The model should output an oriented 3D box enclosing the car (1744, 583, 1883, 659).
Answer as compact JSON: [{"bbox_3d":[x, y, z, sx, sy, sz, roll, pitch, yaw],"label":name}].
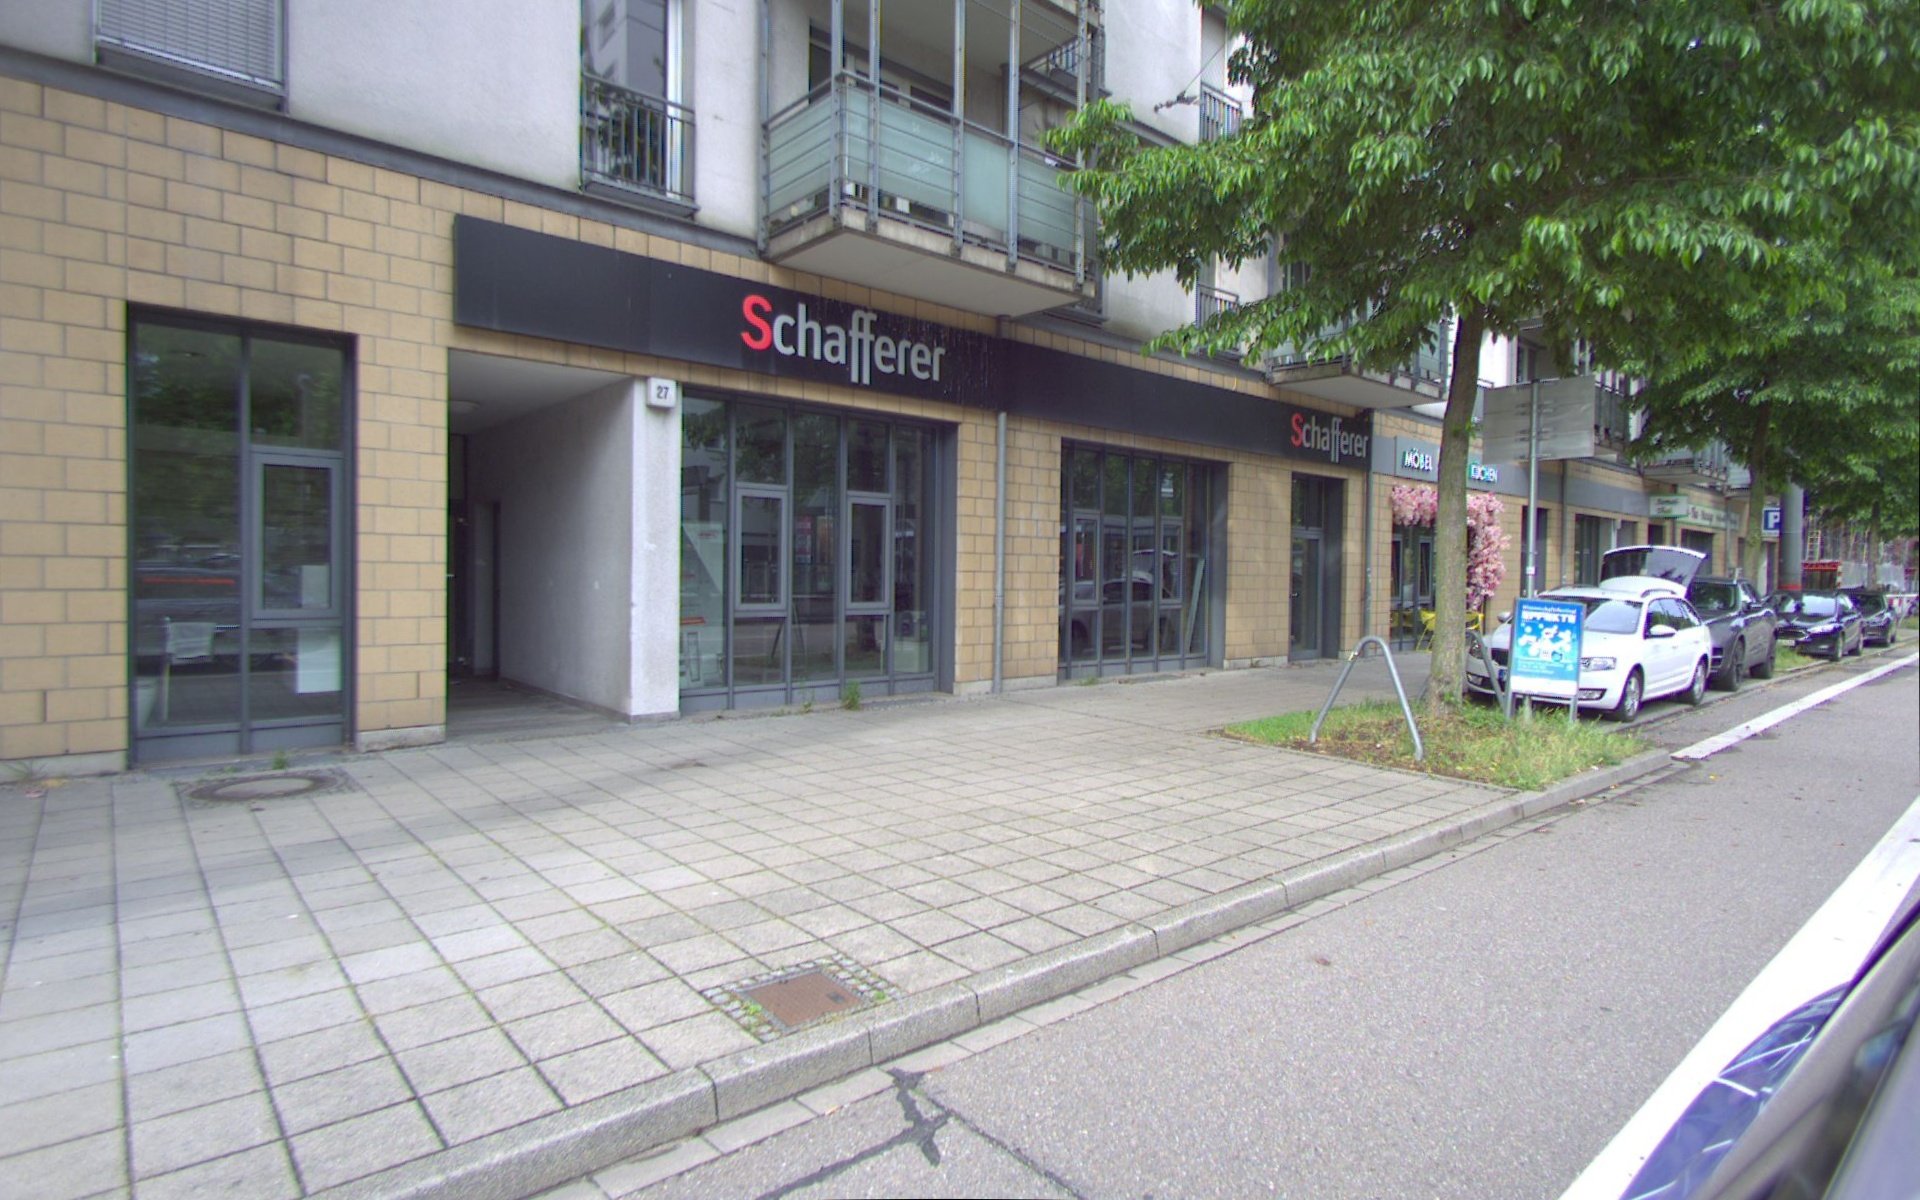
[{"bbox_3d":[18.640,0.387,22.043,4.095,1.394,1.612,-1,5,-41],"label":"car"}]

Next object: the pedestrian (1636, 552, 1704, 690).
[{"bbox_3d":[10.170,0.283,14.502,0.588,1.907,0.656,0,1,-40],"label":"pedestrian"}]

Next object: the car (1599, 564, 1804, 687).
[{"bbox_3d":[11.799,0.318,16.028,3.732,1.630,1.738,-1,5,-41],"label":"car"}]

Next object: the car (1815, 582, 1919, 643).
[{"bbox_3d":[24.162,0.289,26.868,3.603,1.417,1.612,-1,5,-41],"label":"car"}]

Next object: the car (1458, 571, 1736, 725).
[{"bbox_3d":[8.126,0.474,12.755,4.233,1.539,1.738,-1,5,-41],"label":"car"}]

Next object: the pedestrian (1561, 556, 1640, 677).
[{"bbox_3d":[9.517,0.226,15.053,0.606,1.737,0.739,0,3,-34],"label":"pedestrian"}]
